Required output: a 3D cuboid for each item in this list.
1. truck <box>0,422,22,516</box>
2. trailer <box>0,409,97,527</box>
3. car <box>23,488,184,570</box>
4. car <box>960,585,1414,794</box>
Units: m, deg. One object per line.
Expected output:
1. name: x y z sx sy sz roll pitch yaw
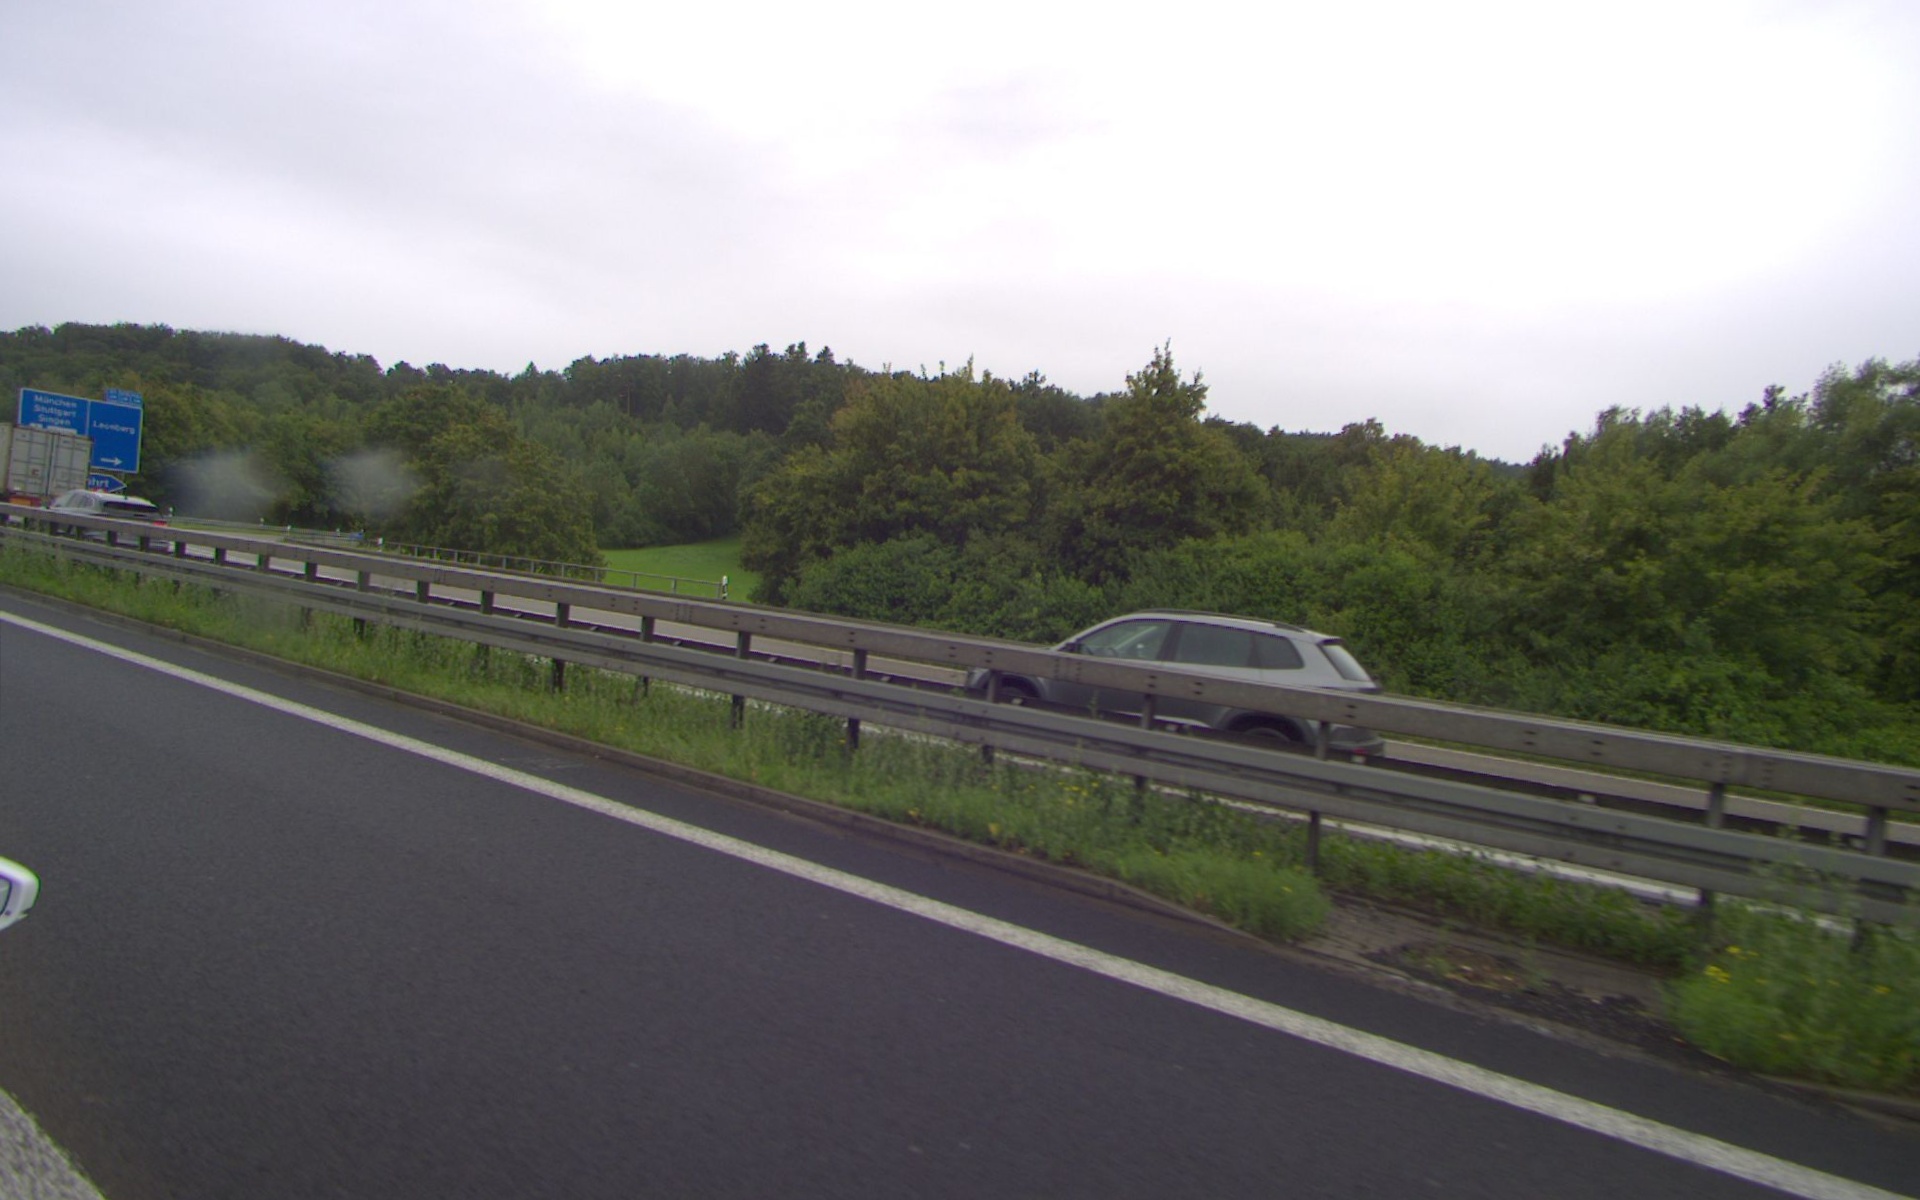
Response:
1. truck: -44.455 -6.036 44.540 6.289 3.932 2.618 6 0 34
2. trailer: -39.235 -5.445 41.044 12.289 3.942 2.606 6 0 34
3. car: -22.108 -1.848 25.927 4.567 1.629 1.772 6 -1 32
4. car: 2.217 0.775 10.173 4.057 1.400 1.668 6 1 31
